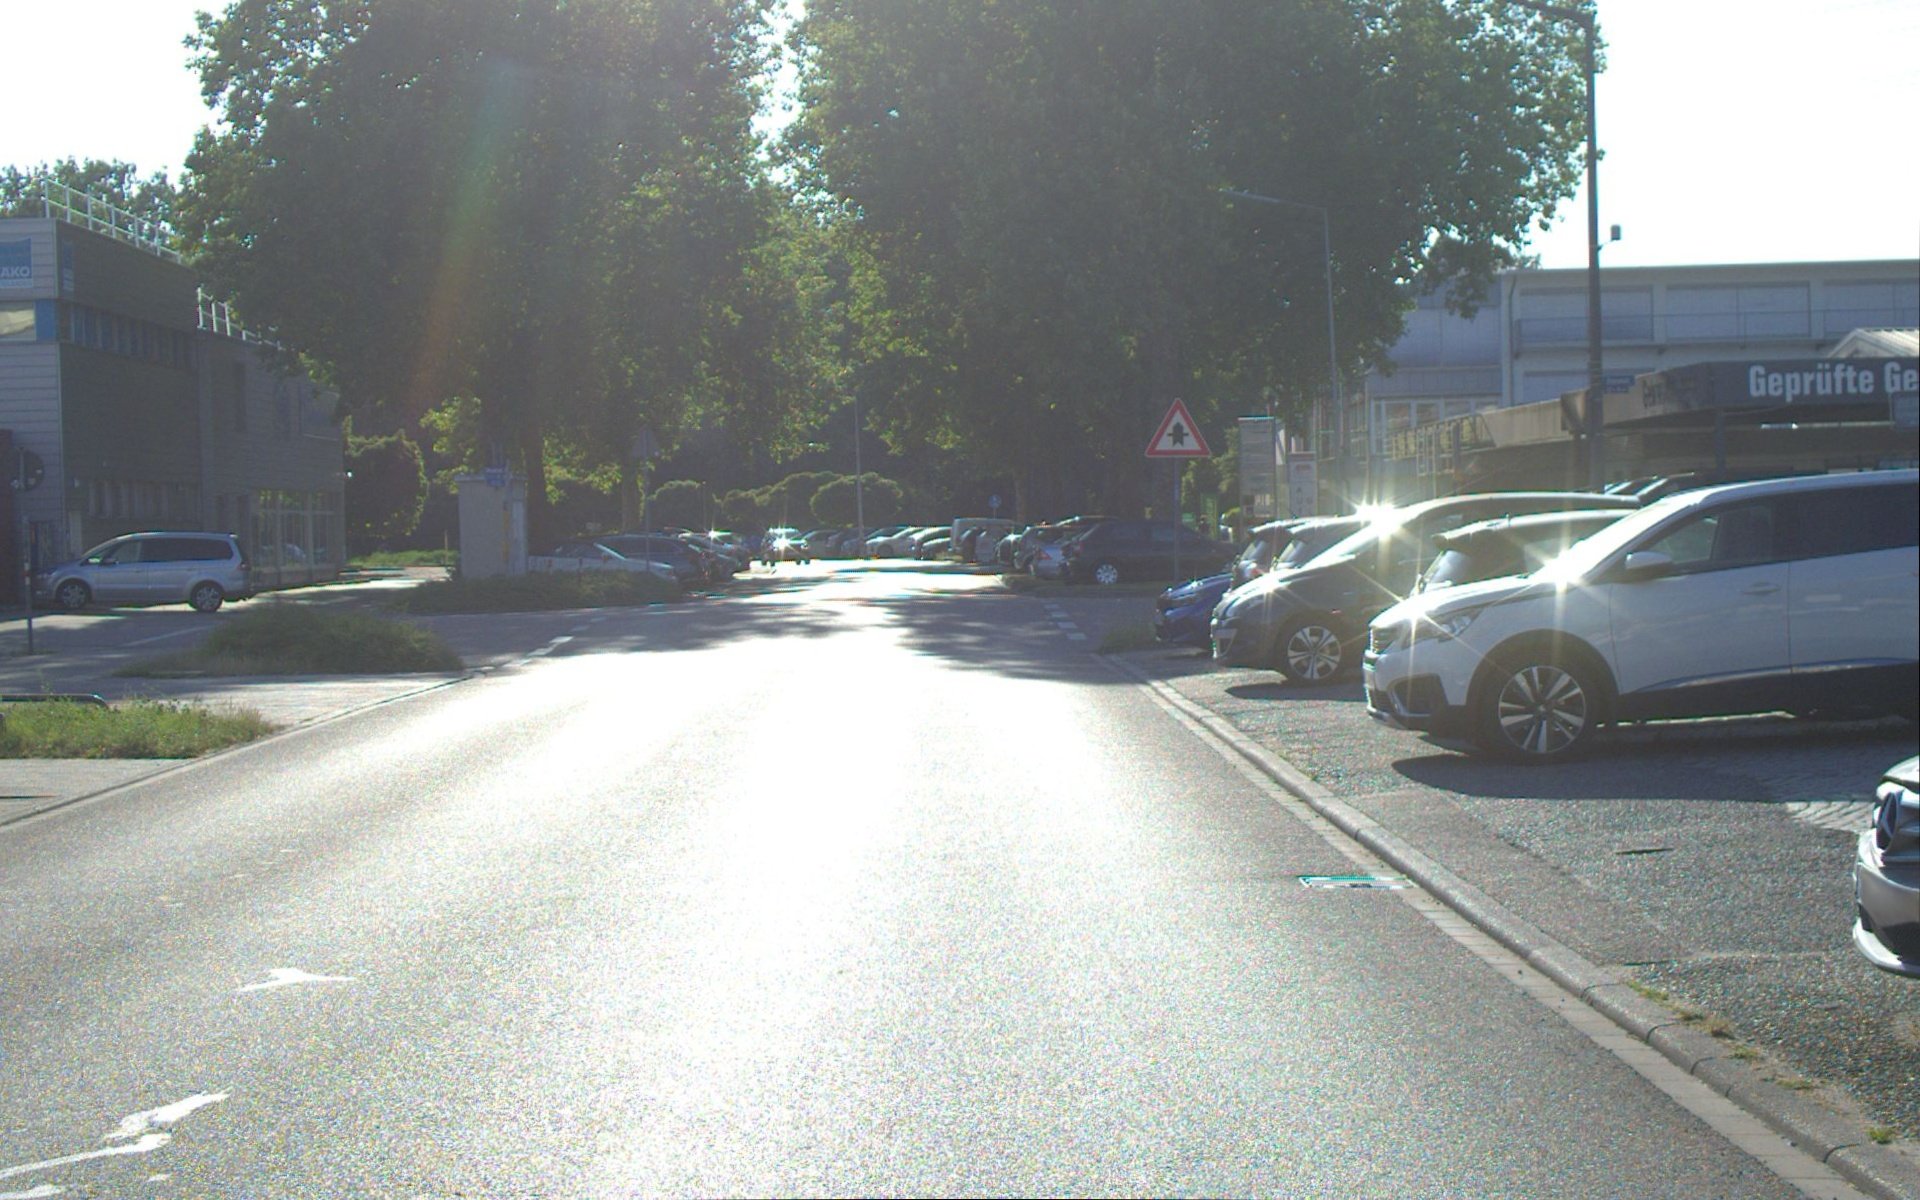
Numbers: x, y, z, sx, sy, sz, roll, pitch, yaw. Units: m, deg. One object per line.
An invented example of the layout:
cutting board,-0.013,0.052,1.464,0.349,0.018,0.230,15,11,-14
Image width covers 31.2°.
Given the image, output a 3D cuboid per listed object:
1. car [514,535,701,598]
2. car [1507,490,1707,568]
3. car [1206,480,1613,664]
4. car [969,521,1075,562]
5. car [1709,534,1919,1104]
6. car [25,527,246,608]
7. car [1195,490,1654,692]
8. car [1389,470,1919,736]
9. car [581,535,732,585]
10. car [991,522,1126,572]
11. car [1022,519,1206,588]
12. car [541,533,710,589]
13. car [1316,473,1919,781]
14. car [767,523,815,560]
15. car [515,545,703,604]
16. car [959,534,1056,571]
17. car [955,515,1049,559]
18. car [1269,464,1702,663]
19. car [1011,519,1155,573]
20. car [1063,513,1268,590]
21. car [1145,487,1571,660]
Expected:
car,-8.615,-0.834,84.312,4.415,1.511,2.000,0,1,-2
car,14.190,-1.554,75.512,3.986,1.694,2.000,0,1,-1
car,4.777,-0.313,36.916,3.987,1.646,1.743,-4,1,-3
car,2.373,-2.255,132.673,3.987,1.411,1.827,-2,1,0
car,4.631,0.447,9.799,4.436,1.431,2.136,-3,1,-1
car,-18.114,-0.730,75.501,4.628,1.735,2.001,0,1,-16
car,4.250,-0.089,31.685,3.988,1.608,2.000,-3,1,7
car,5.328,-0.022,24.283,4.248,1.617,1.921,-3,1,-1
car,-9.295,-1.244,105.550,4.415,1.511,2.000,0,1,1
car,2.974,-1.610,104.062,3.987,1.376,1.827,-2,1,0
car,3.433,-1.040,77.206,3.987,1.411,1.827,-2,1,0
car,-9.200,-1.083,94.804,4.415,1.511,2.000,0,1,1
car,4.731,0.098,21.654,4.554,1.592,2.202,-4,1,-3
car,-7.503,-2.605,152.953,1.993,1.603,4.000,1,1,-1
car,-8.369,-0.619,82.107,4.414,1.398,2.000,0,1,-5
car,1.974,-1.998,144.650,3.987,1.411,1.827,-2,1,0
car,1.807,-2.729,148.641,3.987,1.770,1.827,-2,1,0
car,5.250,-0.375,34.745,3.987,1.646,1.801,-5,1,0
car,3.499,-1.534,98.084,3.987,1.411,1.827,-2,1,0
car,4.132,-0.994,69.691,3.987,1.411,2.000,-2,1,0
car,4.527,-0.315,39.470,4.523,1.667,1.754,-4,1,-4
